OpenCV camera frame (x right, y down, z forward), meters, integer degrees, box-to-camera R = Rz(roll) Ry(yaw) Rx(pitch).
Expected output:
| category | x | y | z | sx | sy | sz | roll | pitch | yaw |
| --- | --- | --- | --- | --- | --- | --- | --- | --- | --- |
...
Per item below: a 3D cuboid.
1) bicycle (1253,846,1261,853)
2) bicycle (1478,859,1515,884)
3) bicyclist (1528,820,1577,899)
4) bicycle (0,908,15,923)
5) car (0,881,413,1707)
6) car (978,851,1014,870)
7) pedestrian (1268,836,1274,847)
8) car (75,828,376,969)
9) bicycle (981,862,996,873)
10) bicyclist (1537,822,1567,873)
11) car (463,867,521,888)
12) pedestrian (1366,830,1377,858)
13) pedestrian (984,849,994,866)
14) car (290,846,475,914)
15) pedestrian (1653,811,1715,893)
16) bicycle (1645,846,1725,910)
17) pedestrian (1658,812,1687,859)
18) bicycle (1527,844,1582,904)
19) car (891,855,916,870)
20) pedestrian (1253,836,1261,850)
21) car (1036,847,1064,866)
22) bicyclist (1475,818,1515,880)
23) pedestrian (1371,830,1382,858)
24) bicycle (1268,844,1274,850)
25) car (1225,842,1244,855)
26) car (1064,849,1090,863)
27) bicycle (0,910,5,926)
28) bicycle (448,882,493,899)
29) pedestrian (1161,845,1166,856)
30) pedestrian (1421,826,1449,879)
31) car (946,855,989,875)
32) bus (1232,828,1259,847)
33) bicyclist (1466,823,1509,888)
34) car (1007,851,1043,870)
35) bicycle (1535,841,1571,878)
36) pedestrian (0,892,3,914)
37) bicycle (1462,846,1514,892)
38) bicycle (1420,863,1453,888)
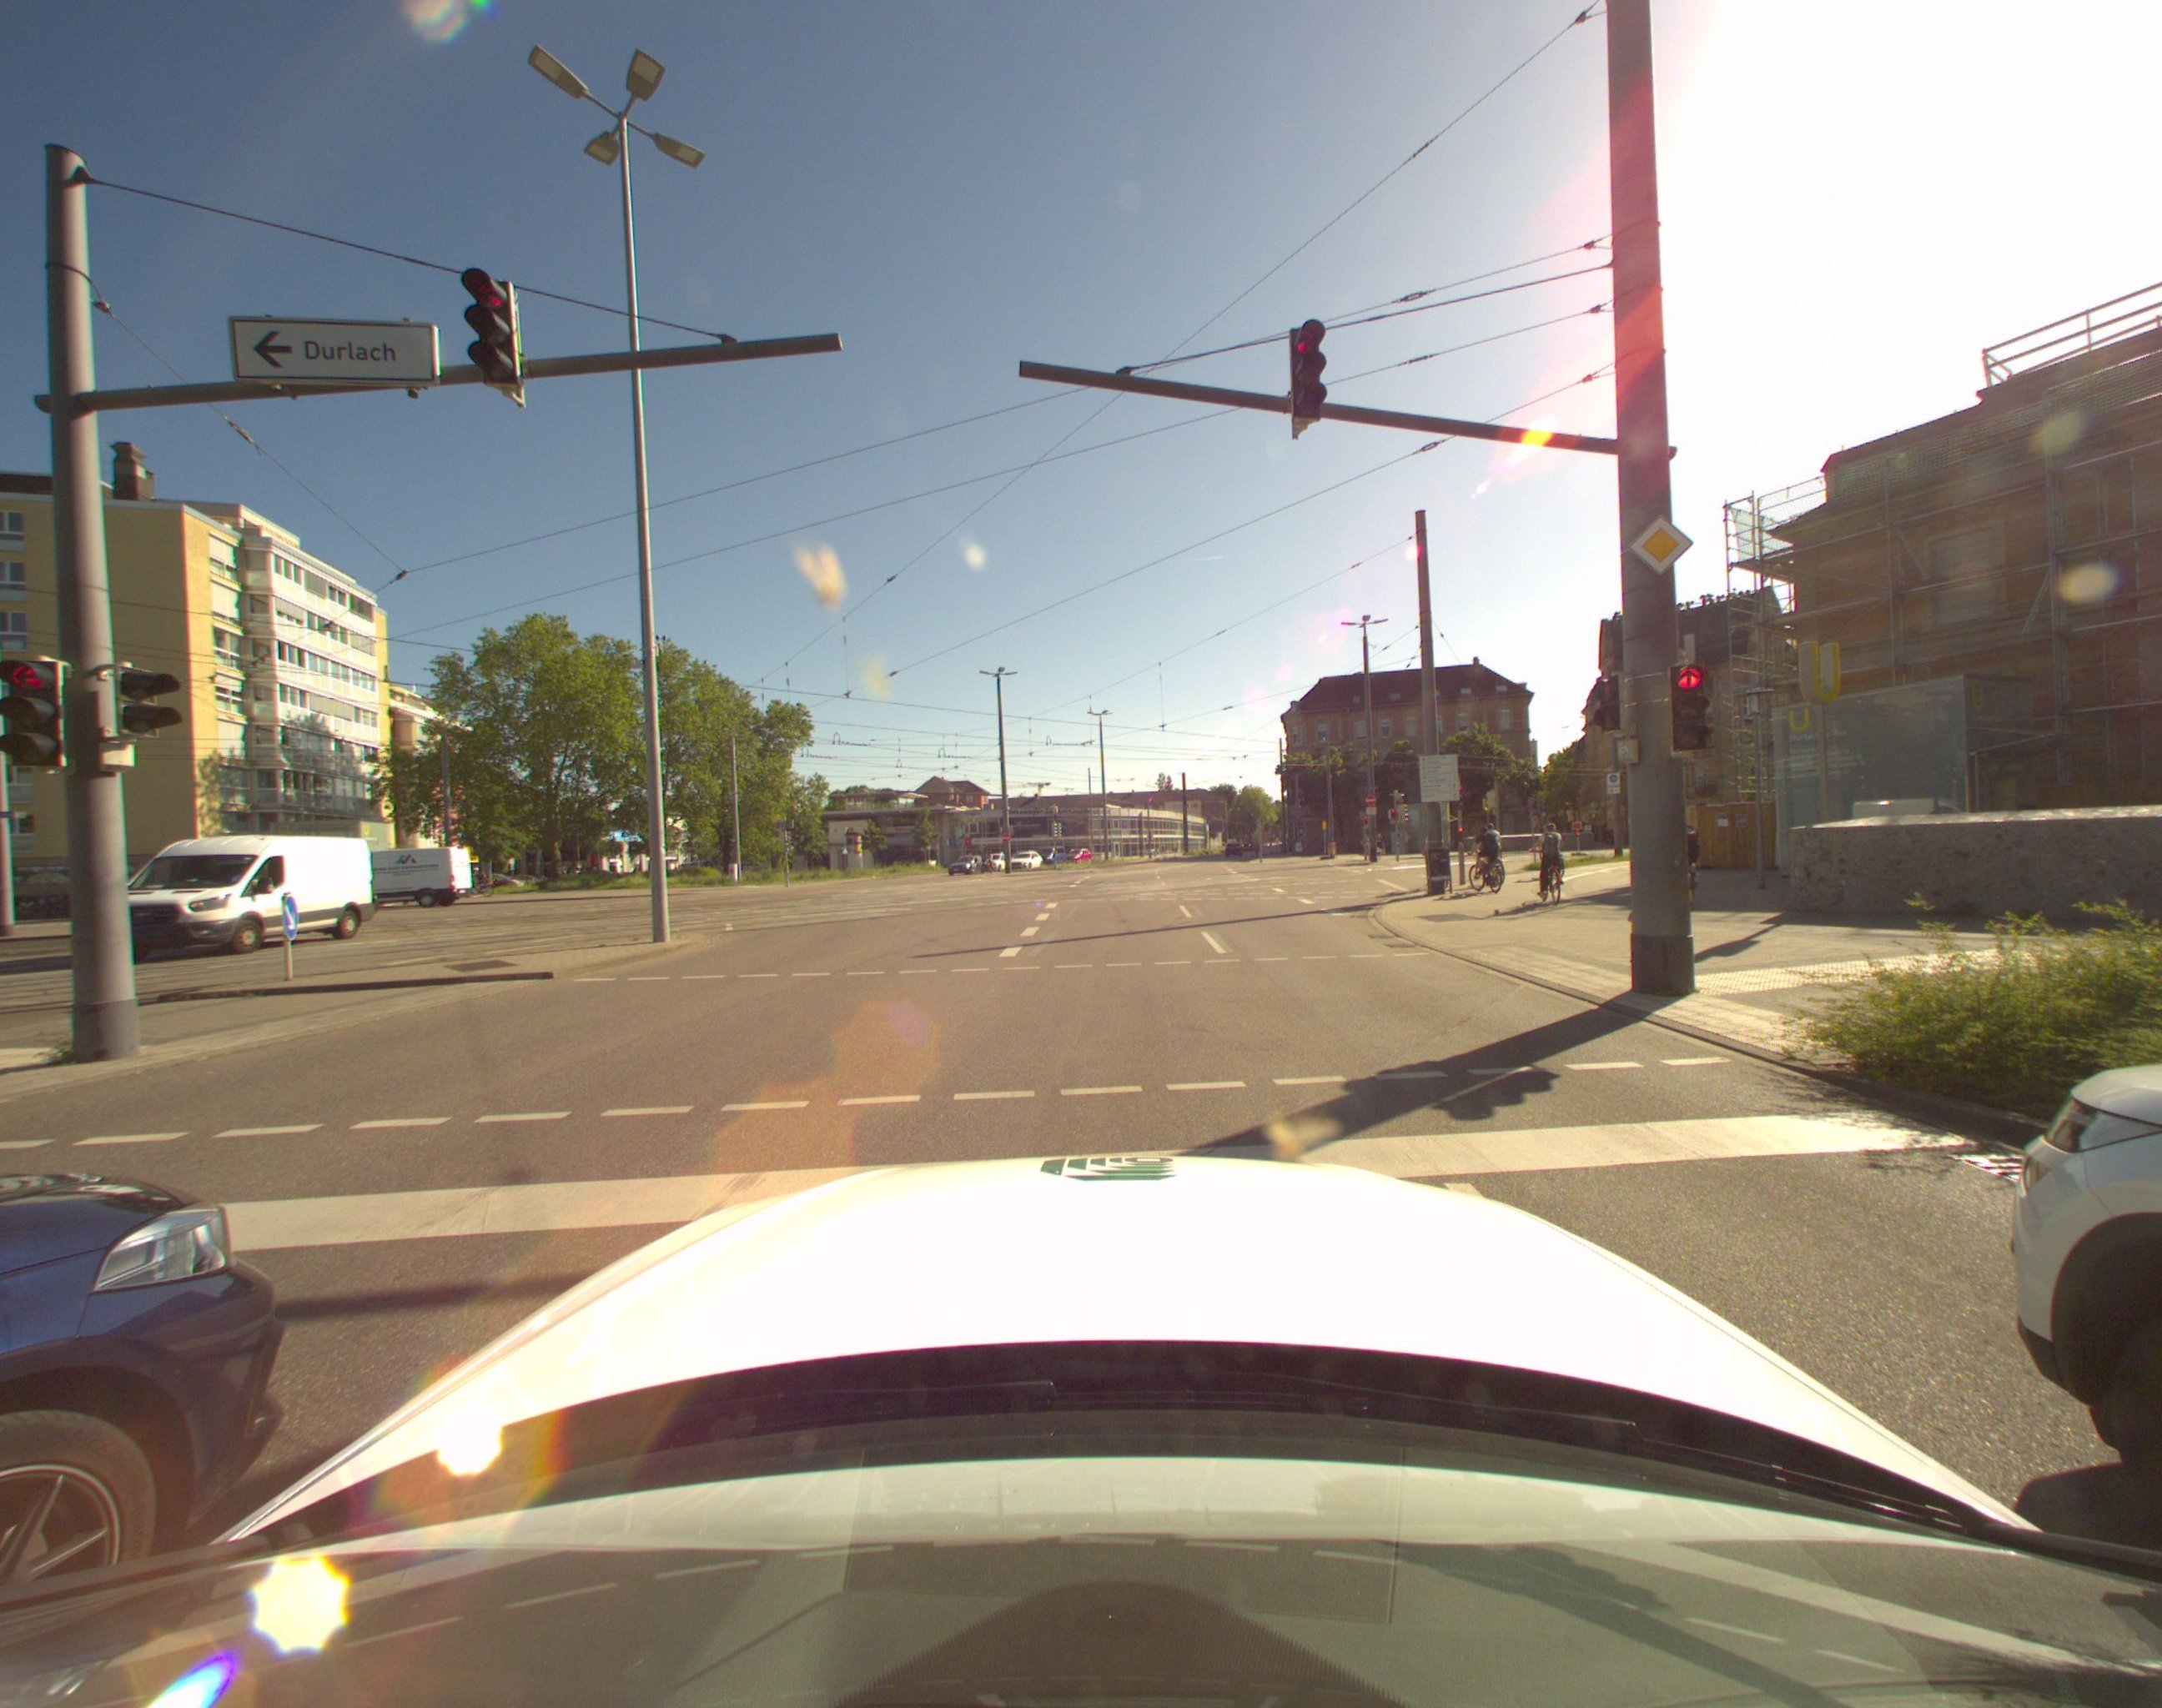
| category | x | y | z | sx | sy | sz | roll | pitch | yaw |
| --- | --- | --- | --- | --- | --- | --- | --- | --- | --- |
| bicycle | 21.501 | -0.566 | 99.313 | 0.737 | 0.870 | 1.940 | -2 | 0 | 17 |
| bicycle | 12.459 | 0.511 | 24.459 | 0.534 | 0.655 | 1.471 | -3 | 0 | 9 |
| bicyclist | 9.960 | 0.109 | 17.234 | 0.679 | 1.598 | 0.982 | -4 | 0 | 22 |
| bicycle | -54.194 | 3.098 | 40.404 | 1.634 | 0.718 | 0.421 | -2 | 0 | -18 |
| car | -2.664 | 0.803 | 0.107 | 1.704 | 1.445 | 4.034 | -1 | 0 | 2 |
| car | -6.978 | 0.547 | 67.172 | 1.613 | 1.424 | 3.702 | -2 | 0 | 17 |
| pedestrian | 27.813 | -1.806 | 119.279 | 0.740 | 1.523 | 0.721 | -2 | 0 | 17 |
| car | -18.087 | 0.818 | 17.721 | 1.998 | 2.508 | 5.389 | -2 | 0 | -16 |
| bicycle | -6.886 | 1.001 | 60.663 | 0.419 | 0.718 | 1.642 | -2 | 0 | 19 |
| bicyclist | 15.034 | -0.210 | 26.012 | 0.567 | 1.568 | 0.951 | -2 | 0 | 17 |
| car | -51.307 | 2.053 | 71.036 | 3.742 | 1.662 | 1.585 | -2 | 0 | -18 |
| pedestrian | 21.293 | -0.715 | 59.731 | 0.574 | 2.013 | 0.449 | -3 | 0 | -16 |
| pedestrian | -6.862 | 0.267 | 60.812 | 0.419 | 1.204 | 0.753 | -2 | 0 | 19 |
| car | -31.604 | 1.126 | 37.114 | 5.920 | 2.744 | 2.131 | -2 | 0 | -18 |
| pedestrian | 10.836 | -0.045 | 14.659 | 0.512 | 1.402 | 0.966 | -4 | 0 | 16 |
| bicycle | 10.895 | 0.403 | 14.743 | 0.512 | 1.044 | 1.776 | -4 | 0 | 16 |
| pedestrian | 24.518 | -0.761 | 33.767 | 0.887 | 1.859 | 0.933 | -2 | 0 | 36 |
| bicycle | 9.945 | 0.400 | 17.175 | 0.679 | 1.163 | 1.893 | -3 | 0 | 22 |
| car | -21.866 | 1.068 | 100.601 | 1.958 | 1.706 | 4.085 | -2 | 0 | 2 |
| pedestrian | 21.552 | -1.304 | 99.690 | 0.796 | 1.632 | 0.721 | -2 | -1 | 17 |
| car | -2.990 | 0.235 | 79.221 | 1.613 | 1.692 | 3.702 | -2 | 0 | 17 |
| bicyclist | 12.384 | -0.152 | 24.381 | 0.742 | 1.778 | 0.926 | -3 | 0 | 9 |
| pedestrian | 21.882 | -0.720 | 60.311 | 0.461 | 2.013 | 0.449 | -3 | 0 | -16 |
| bicycle | 27.790 | -1.083 | 119.116 | 0.737 | 0.870 | 1.940 | -2 | 0 | 17 |
| car | 17.900 | -0.654 | 95.116 | 1.686 | 1.503 | 4.284 | -2 | 0 | 17 |
| car | -0.437 | 0.241 | 86.292 | 1.613 | 1.364 | 3.703 | -2 | 0 | 18 |
| bicycle | -53.379 | 3.133 | 39.385 | 1.634 | 0.758 | 0.421 | -2 | 0 | -19 |
| bicycle | -35.534 | 2.117 | 47.439 | 2.010 | 0.913 | 0.559 | -2 | 0 | -17 |
| pedestrian | 12.720 | -0.512 | 125.072 | 0.537 | 1.688 | 0.633 | -2 | 0 | 22 |
| pedestrian | 10.809 | -0.047 | 24.898 | 0.545 | 1.562 | 0.860 | -2 | 0 | 10 |
| car | -8.498 | 0.782 | 61.249 | 1.689 | 1.354 | 3.719 | -2 | 0 | 19 |
| bus | 35.075 | -3.306 | 172.424 | 3.808 | 3.607 | 24.968 | -1 | 0 | 16 |
| bicyclist | 10.741 | 0.043 | 21.548 | 0.622 | 1.637 | 0.997 | -5 | 0 | 9 |
| car | -4.472 | 0.512 | 65.228 | 1.613 | 1.382 | 3.754 | -2 | 0 | 17 |
| bicycle | 15.017 | 0.145 | 25.933 | 0.567 | 1.125 | 1.748 | -2 | 0 | 17 |
| pedestrian | -54.205 | 2.465 | 40.407 | 0.749 | 1.127 | 0.421 | -2 | 0 | -18 |
| bicycle | 10.786 | 0.379 | 21.661 | 0.622 | 1.114 | 1.855 | -5 | 0 | 9 |
| bicycle | 10.932 | 0.654 | 25.080 | 0.533 | 0.655 | 1.731 | -5 | 0 | 11 |
